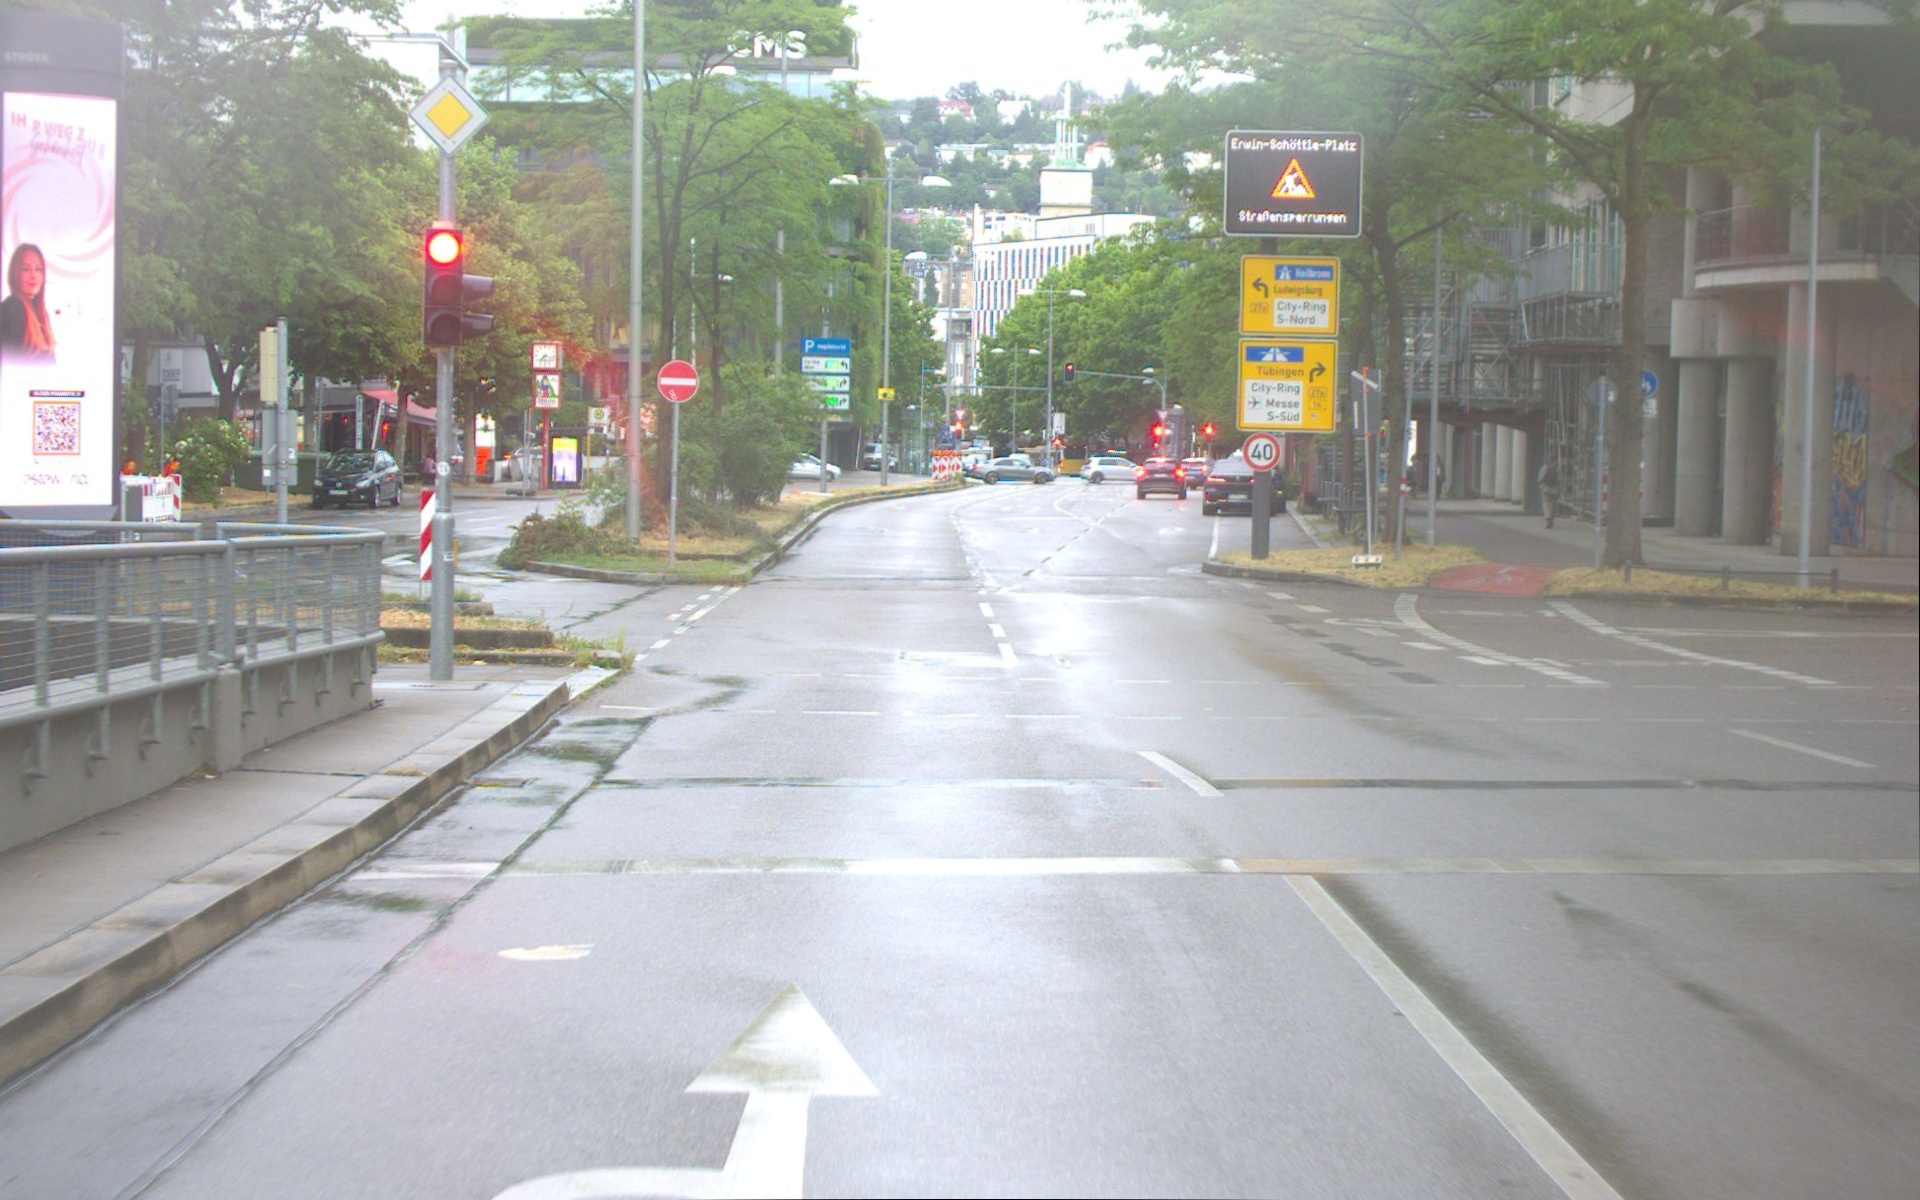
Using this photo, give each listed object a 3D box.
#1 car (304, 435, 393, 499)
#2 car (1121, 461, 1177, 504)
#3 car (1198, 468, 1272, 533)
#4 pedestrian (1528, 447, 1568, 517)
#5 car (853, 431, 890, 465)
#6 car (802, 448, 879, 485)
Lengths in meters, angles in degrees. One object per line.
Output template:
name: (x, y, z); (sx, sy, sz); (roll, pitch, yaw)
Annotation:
car: (-16.703, -3.654, 94.073); (1.780, 1.550, 3.894); (2, 4, -1)
car: (6.981, -4.331, 127.205); (1.746, 1.514, 4.107); (2, 2, -1)
car: (7.531, -2.729, 94.425); (1.901, 1.678, 3.911); (2, 2, 4)
pedestrian: (13.243, -2.657, 77.445); (0.786, 1.552, 0.533); (2, 2, 4)
car: (-6.017, -10.391, 235.178); (2.128, 2.157, 5.197); (2, 2, 2)
car: (-6.616, -7.369, 189.809); (4.055, 1.898, 1.955); (2, 2, -7)
